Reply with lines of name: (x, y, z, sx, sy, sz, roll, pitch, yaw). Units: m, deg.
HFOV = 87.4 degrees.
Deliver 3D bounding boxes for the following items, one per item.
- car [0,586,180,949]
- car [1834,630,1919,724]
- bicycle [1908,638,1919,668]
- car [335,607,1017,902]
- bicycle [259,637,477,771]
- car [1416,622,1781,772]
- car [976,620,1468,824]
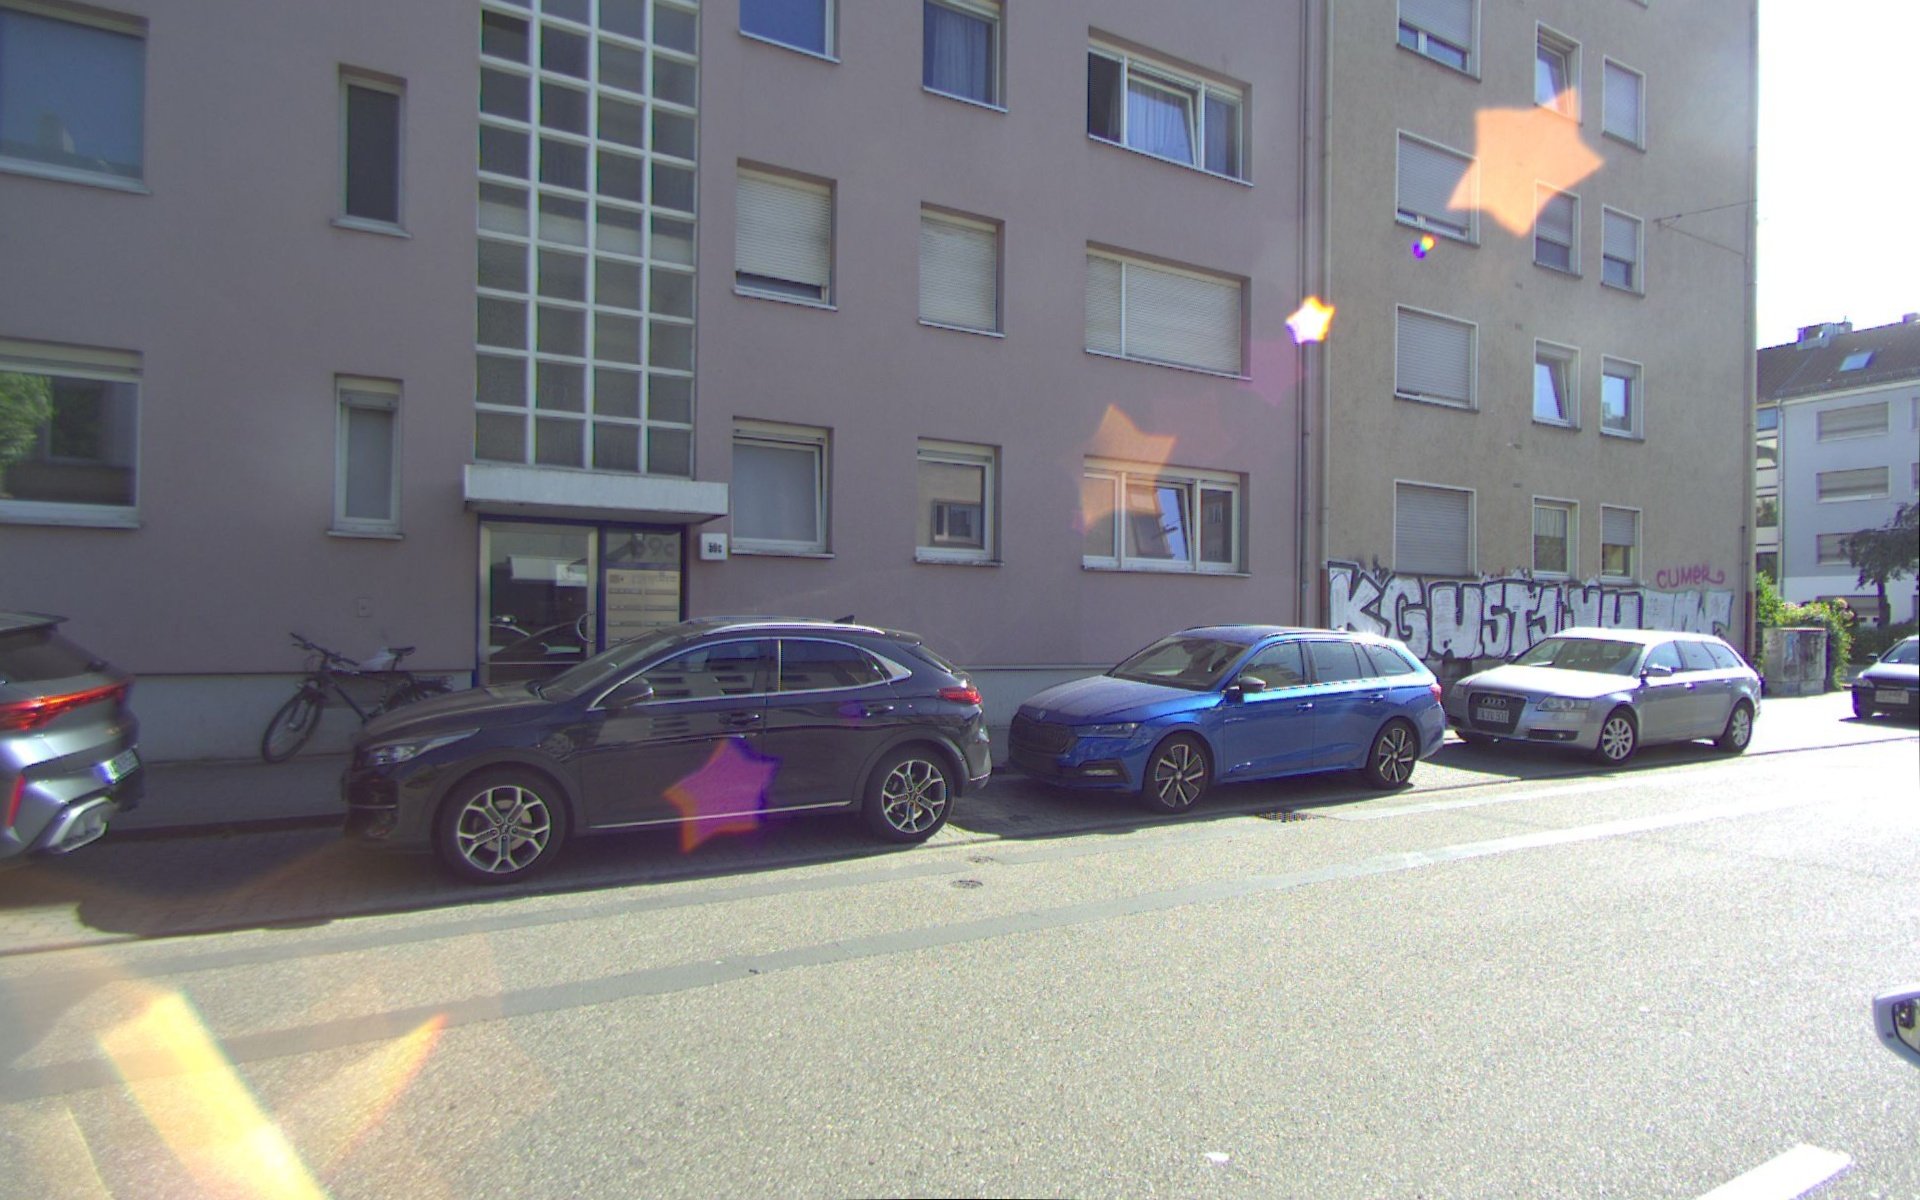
car: (-6.389, 0.745, 4.644, 4.087, 1.614, 1.810, 1, 2, -27)
car: (16.890, 1.293, 17.283, 3.665, 1.444, 1.609, 1, 1, -29)
bicycle: (39.168, 2.129, 39.948, 2.069, 1.188, 0.737, -1, -1, 39)
car: (-1.863, 0.869, 7.139, 4.190, 1.528, 1.810, 1, 1, -27)
bicycle: (-5.212, 0.889, 8.935, 1.629, 1.091, 0.389, 1, 3, -28)
car: (7.963, 1.071, 12.412, 4.756, 1.485, 1.709, 1, 2, -29)
car: (2.551, 0.976, 9.449, 4.556, 1.485, 1.710, 1, 0, -29)
